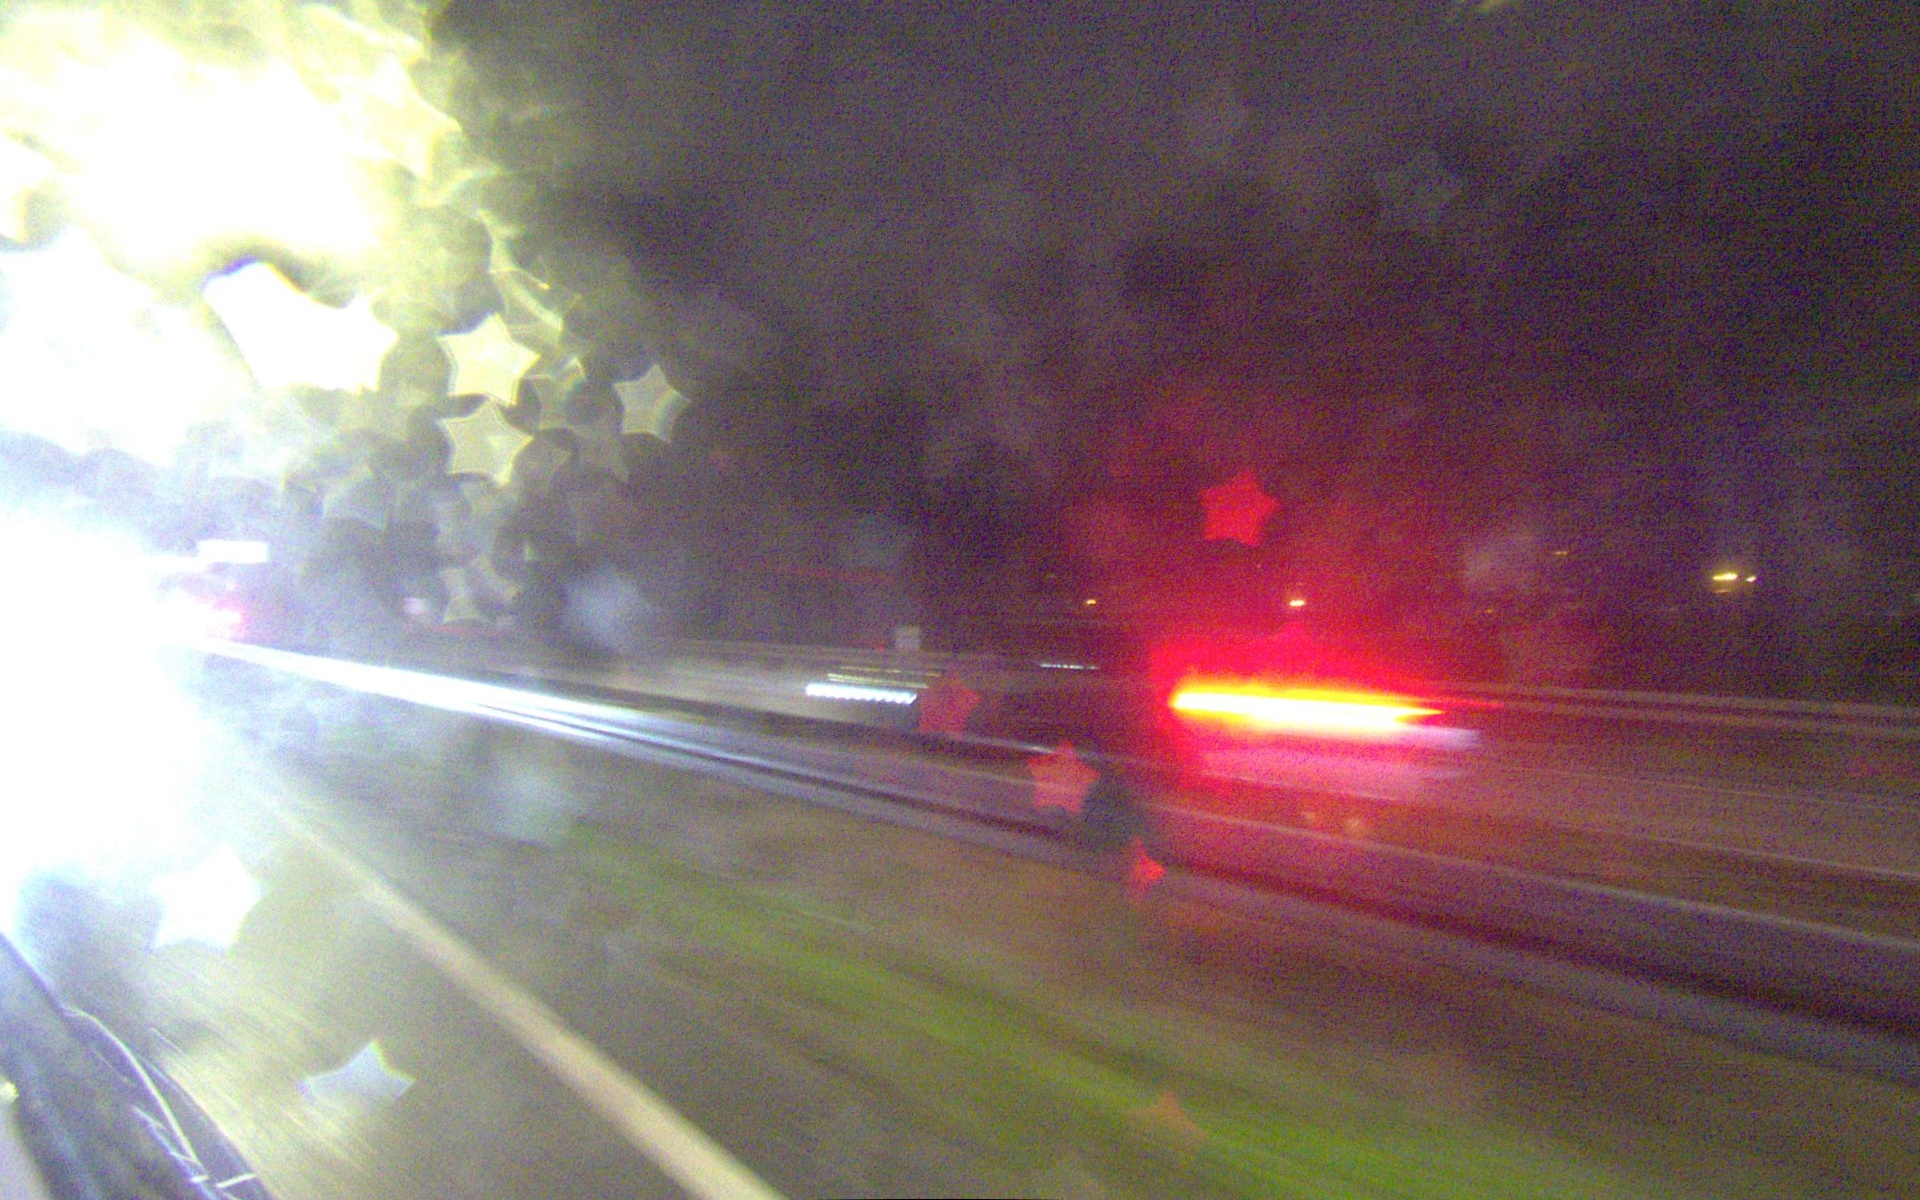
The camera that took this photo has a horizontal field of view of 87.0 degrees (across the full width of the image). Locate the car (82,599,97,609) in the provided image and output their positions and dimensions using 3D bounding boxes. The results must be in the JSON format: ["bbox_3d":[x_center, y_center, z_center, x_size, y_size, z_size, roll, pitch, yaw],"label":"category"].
[{"bbox_3d":[-152.156,0.642,176.830,1.762,1.659,4.004,-1,0,-43],"label":"car"}]

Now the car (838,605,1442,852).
[{"bbox_3d":[1.070,0.754,8.052,1.591,1.392,4.751,0,-1,-43],"label":"car"}]

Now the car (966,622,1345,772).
[{"bbox_3d":[2.067,0.985,11.659,1.591,1.392,4.169,3,-3,-42],"label":"car"}]

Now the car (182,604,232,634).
[{"bbox_3d":[-40.313,1.010,54.135,1.731,1.564,4.014,1,-1,-43],"label":"car"}]
